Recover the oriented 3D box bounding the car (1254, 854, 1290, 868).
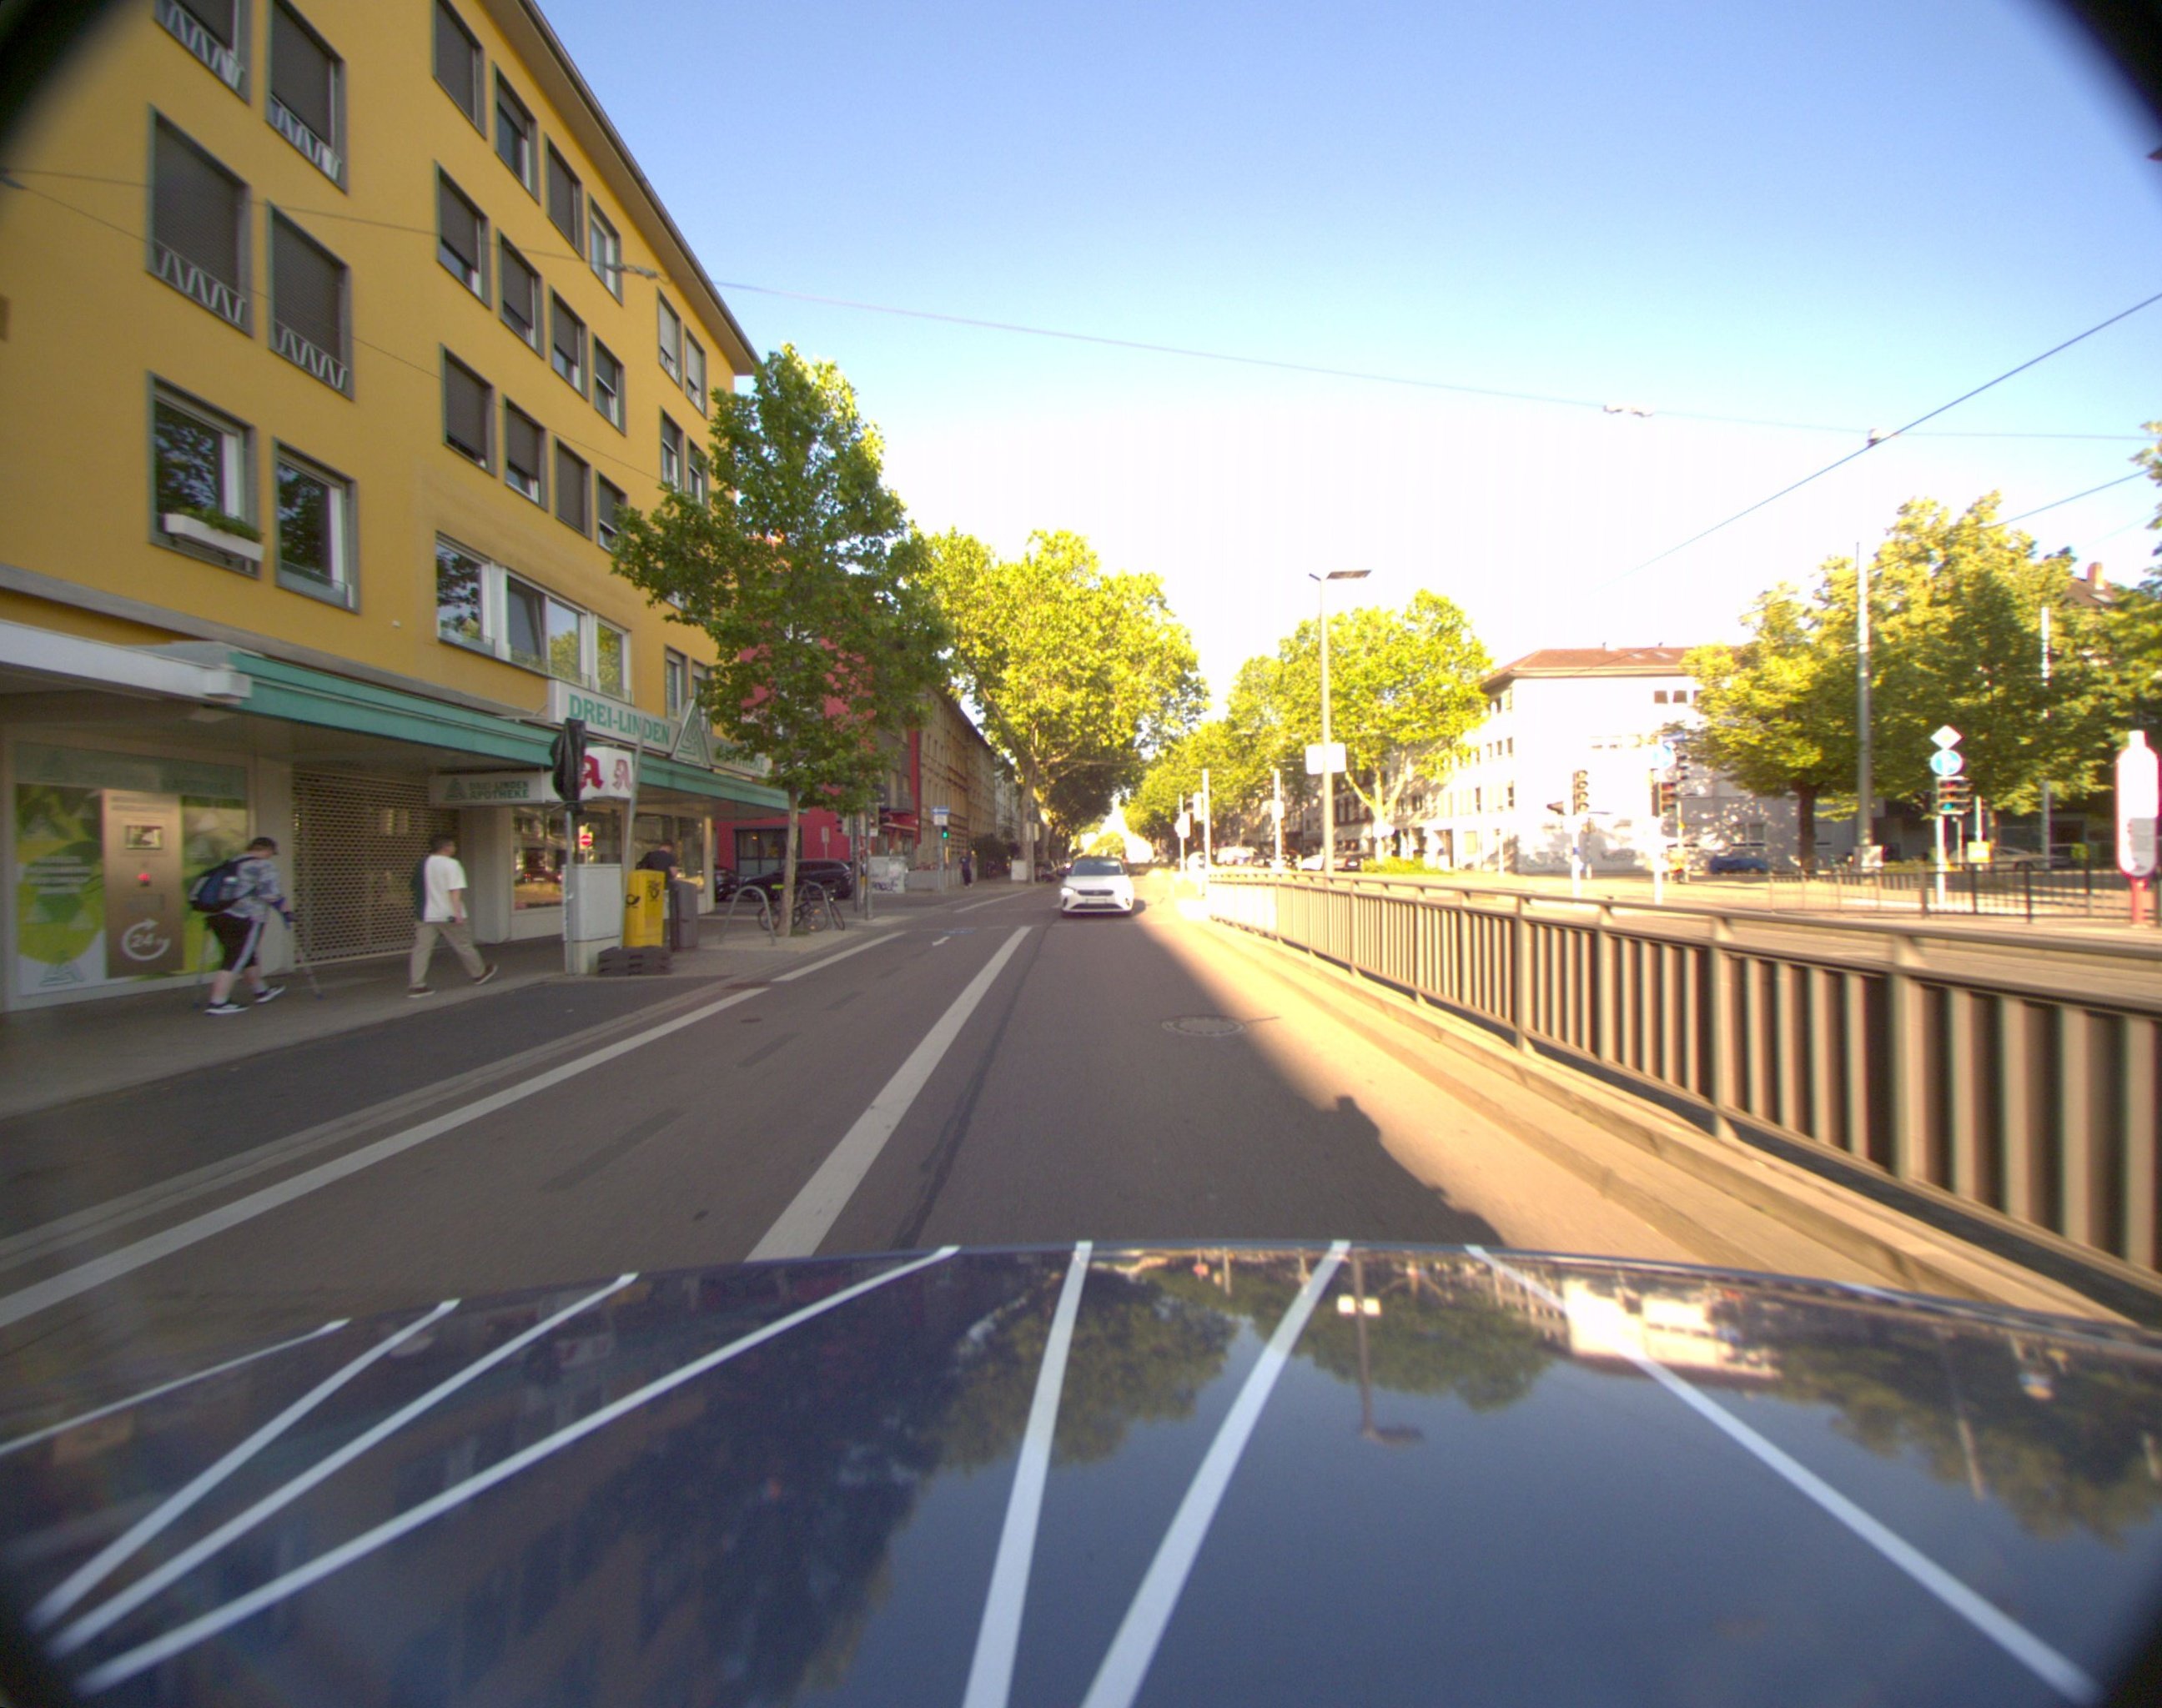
[{"bbox_3d":[21.717,0.773,86.470,4.265,1.451,1.598,-1,0,-35],"label":"car"}]

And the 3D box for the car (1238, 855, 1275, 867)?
[{"bbox_3d":[21.639,0.855,93.944,4.004,1.509,1.997,-1,0,-20],"label":"car"}]

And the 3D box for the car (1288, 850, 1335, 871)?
[{"bbox_3d":[22.411,0.613,73.835,4.260,1.932,1.514,-1,0,-15],"label":"car"}]

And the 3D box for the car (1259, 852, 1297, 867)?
[{"bbox_3d":[21.538,0.606,83.078,4.266,1.605,1.902,-1,0,-40],"label":"car"}]

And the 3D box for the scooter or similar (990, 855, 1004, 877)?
[{"bbox_3d":[-5.632,0.806,51.065,0.666,1.461,2.545,-1,0,1],"label":"scooter or similar"}]

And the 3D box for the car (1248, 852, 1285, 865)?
[{"bbox_3d":[21.956,0.562,89.745,4.265,1.449,1.902,-1,0,-35],"label":"car"}]

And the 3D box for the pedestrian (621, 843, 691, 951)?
[{"bbox_3d":[-7.266,0.720,13.028,0.725,1.796,0.766,-1,1,0],"label":"pedestrian"}]

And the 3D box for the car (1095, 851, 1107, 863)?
[{"bbox_3d":[3.662,0.522,141.415,1.998,2.002,4.000,-2,0,0],"label":"car"}]

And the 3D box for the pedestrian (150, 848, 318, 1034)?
[{"bbox_3d":[-8.193,0.800,7.389,0.725,1.713,0.766,-1,1,0],"label":"pedestrian"}]

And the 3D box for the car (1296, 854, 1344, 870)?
[{"bbox_3d":[21.131,0.702,67.116,4.266,1.369,2.147,-1,0,-40],"label":"car"}]

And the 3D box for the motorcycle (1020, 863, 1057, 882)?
[{"bbox_3d":[-2.634,1.165,47.156,2.217,1.104,0.663,2,-1,-27],"label":"motorcycle"}]

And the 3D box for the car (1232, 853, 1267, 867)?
[{"bbox_3d":[21.556,0.762,97.072,4.005,1.608,1.996,-1,0,-27],"label":"car"}]

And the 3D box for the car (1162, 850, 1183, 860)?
[{"bbox_3d":[21.568,0.281,178.881,4.952,2.200,2.096,-1,0,-42],"label":"car"}]

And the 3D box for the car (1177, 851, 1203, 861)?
[{"bbox_3d":[19.040,0.363,132.858,4.234,1.696,1.999,-1,0,-4],"label":"car"}]

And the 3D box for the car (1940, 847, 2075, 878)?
[{"bbox_3d":[45.502,0.430,37.459,1.815,1.389,4.001,-1,-1,1],"label":"car"}]

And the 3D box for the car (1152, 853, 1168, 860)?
[{"bbox_3d":[21.107,0.600,202.560,3.994,1.802,1.875,-1,0,10],"label":"car"}]

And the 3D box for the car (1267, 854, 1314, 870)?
[{"bbox_3d":[20.797,0.755,75.414,4.260,1.548,1.641,-1,0,-15],"label":"car"}]

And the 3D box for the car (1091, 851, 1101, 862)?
[{"bbox_3d":[3.066,0.503,158.687,1.998,2.002,4.000,-2,0,1],"label":"car"}]

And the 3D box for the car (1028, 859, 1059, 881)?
[{"bbox_3d":[-2.522,1.073,52.451,1.802,1.393,4.370,2,0,1],"label":"car"}]

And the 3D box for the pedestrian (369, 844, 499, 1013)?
[{"bbox_3d":[-7.067,0.776,8.342,0.725,1.769,0.766,-1,1,0],"label":"pedestrian"}]

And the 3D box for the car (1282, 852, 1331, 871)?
[{"bbox_3d":[20.935,0.704,70.516,4.265,1.674,2.147,-1,0,-34],"label":"car"}]

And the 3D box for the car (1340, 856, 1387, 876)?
[{"bbox_3d":[21.653,0.876,58.161,3.979,1.423,1.767,-1,0,-42],"label":"car"}]

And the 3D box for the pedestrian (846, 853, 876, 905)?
[{"bbox_3d":[-7.767,0.870,26.816,0.745,1.770,0.894,-1,4,0],"label":"pedestrian"}]

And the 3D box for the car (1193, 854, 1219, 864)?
[{"bbox_3d":[21.336,0.877,129.705,4.005,1.696,1.996,-1,0,-27],"label":"car"}]

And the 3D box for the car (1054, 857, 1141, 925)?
[{"bbox_3d":[0.346,0.811,18.499,1.865,1.394,3.932,-2,0,0],"label":"car"}]

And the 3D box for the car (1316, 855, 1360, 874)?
[{"bbox_3d":[21.883,0.870,64.664,3.979,1.495,1.827,-1,0,-42],"label":"car"}]

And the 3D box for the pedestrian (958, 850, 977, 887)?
[{"bbox_3d":[-5.240,0.665,35.110,0.728,1.701,0.816,2,1,0],"label":"pedestrian"}]

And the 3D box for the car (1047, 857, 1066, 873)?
[{"bbox_3d":[-2.603,1.103,81.086,1.803,1.599,4.370,2,0,0],"label":"car"}]

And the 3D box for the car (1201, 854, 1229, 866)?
[{"bbox_3d":[21.466,0.944,121.821,4.005,1.805,1.996,-1,0,-27],"label":"car"}]

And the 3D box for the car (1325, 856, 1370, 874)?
[{"bbox_3d":[21.635,0.880,61.650,3.979,1.423,1.738,-1,-1,-42],"label":"car"}]

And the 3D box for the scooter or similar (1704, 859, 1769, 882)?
[{"bbox_3d":[32.796,0.838,38.080,1.096,1.119,2.449,-1,-2,1],"label":"scooter or similar"}]

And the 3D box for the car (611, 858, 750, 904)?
[{"bbox_3d":[-16.030,1.047,30.574,4.613,1.730,1.772,-1,0,0],"label":"car"}]

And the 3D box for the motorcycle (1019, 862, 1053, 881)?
[{"bbox_3d":[-2.671,1.024,45.026,1.895,1.104,0.783,2,-2,-42],"label":"motorcycle"}]

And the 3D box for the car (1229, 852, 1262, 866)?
[{"bbox_3d":[22.502,0.700,103.693,4.005,1.805,1.996,-1,0,-27],"label":"car"}]

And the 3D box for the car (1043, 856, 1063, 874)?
[{"bbox_3d":[-2.689,1.046,73.660,1.803,1.599,4.370,2,0,0],"label":"car"}]

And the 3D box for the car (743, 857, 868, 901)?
[{"bbox_3d":[-11.048,0.984,30.647,4.352,1.676,1.772,-1,0,0],"label":"car"}]

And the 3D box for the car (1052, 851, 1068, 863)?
[{"bbox_3d":[-2.553,0.363,94.409,1.803,1.493,4.370,2,0,0],"label":"car"}]

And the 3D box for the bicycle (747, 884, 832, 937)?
[{"bbox_3d":[-5.806,1.122,15.166,1.487,1.002,0.454,1,1,-3],"label":"bicycle"}]

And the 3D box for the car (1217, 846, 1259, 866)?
[{"bbox_3d":[21.978,0.253,106.350,5.619,2.684,2.176,-1,0,-24],"label":"car"}]

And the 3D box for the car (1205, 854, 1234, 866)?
[{"bbox_3d":[21.637,0.930,118.549,4.005,1.805,1.996,-1,0,-27],"label":"car"}]

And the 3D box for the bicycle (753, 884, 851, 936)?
[{"bbox_3d":[-5.750,1.147,15.731,1.803,1.002,0.541,1,1,-3],"label":"bicycle"}]

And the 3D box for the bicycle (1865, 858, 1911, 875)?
[{"bbox_3d":[47.359,0.719,44.613,1.988,0.974,0.633,-1,0,1],"label":"bicycle"}]

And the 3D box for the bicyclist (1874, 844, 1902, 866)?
[{"bbox_3d":[47.375,0.061,44.608,0.968,1.323,0.633,-1,0,1],"label":"bicyclist"}]
